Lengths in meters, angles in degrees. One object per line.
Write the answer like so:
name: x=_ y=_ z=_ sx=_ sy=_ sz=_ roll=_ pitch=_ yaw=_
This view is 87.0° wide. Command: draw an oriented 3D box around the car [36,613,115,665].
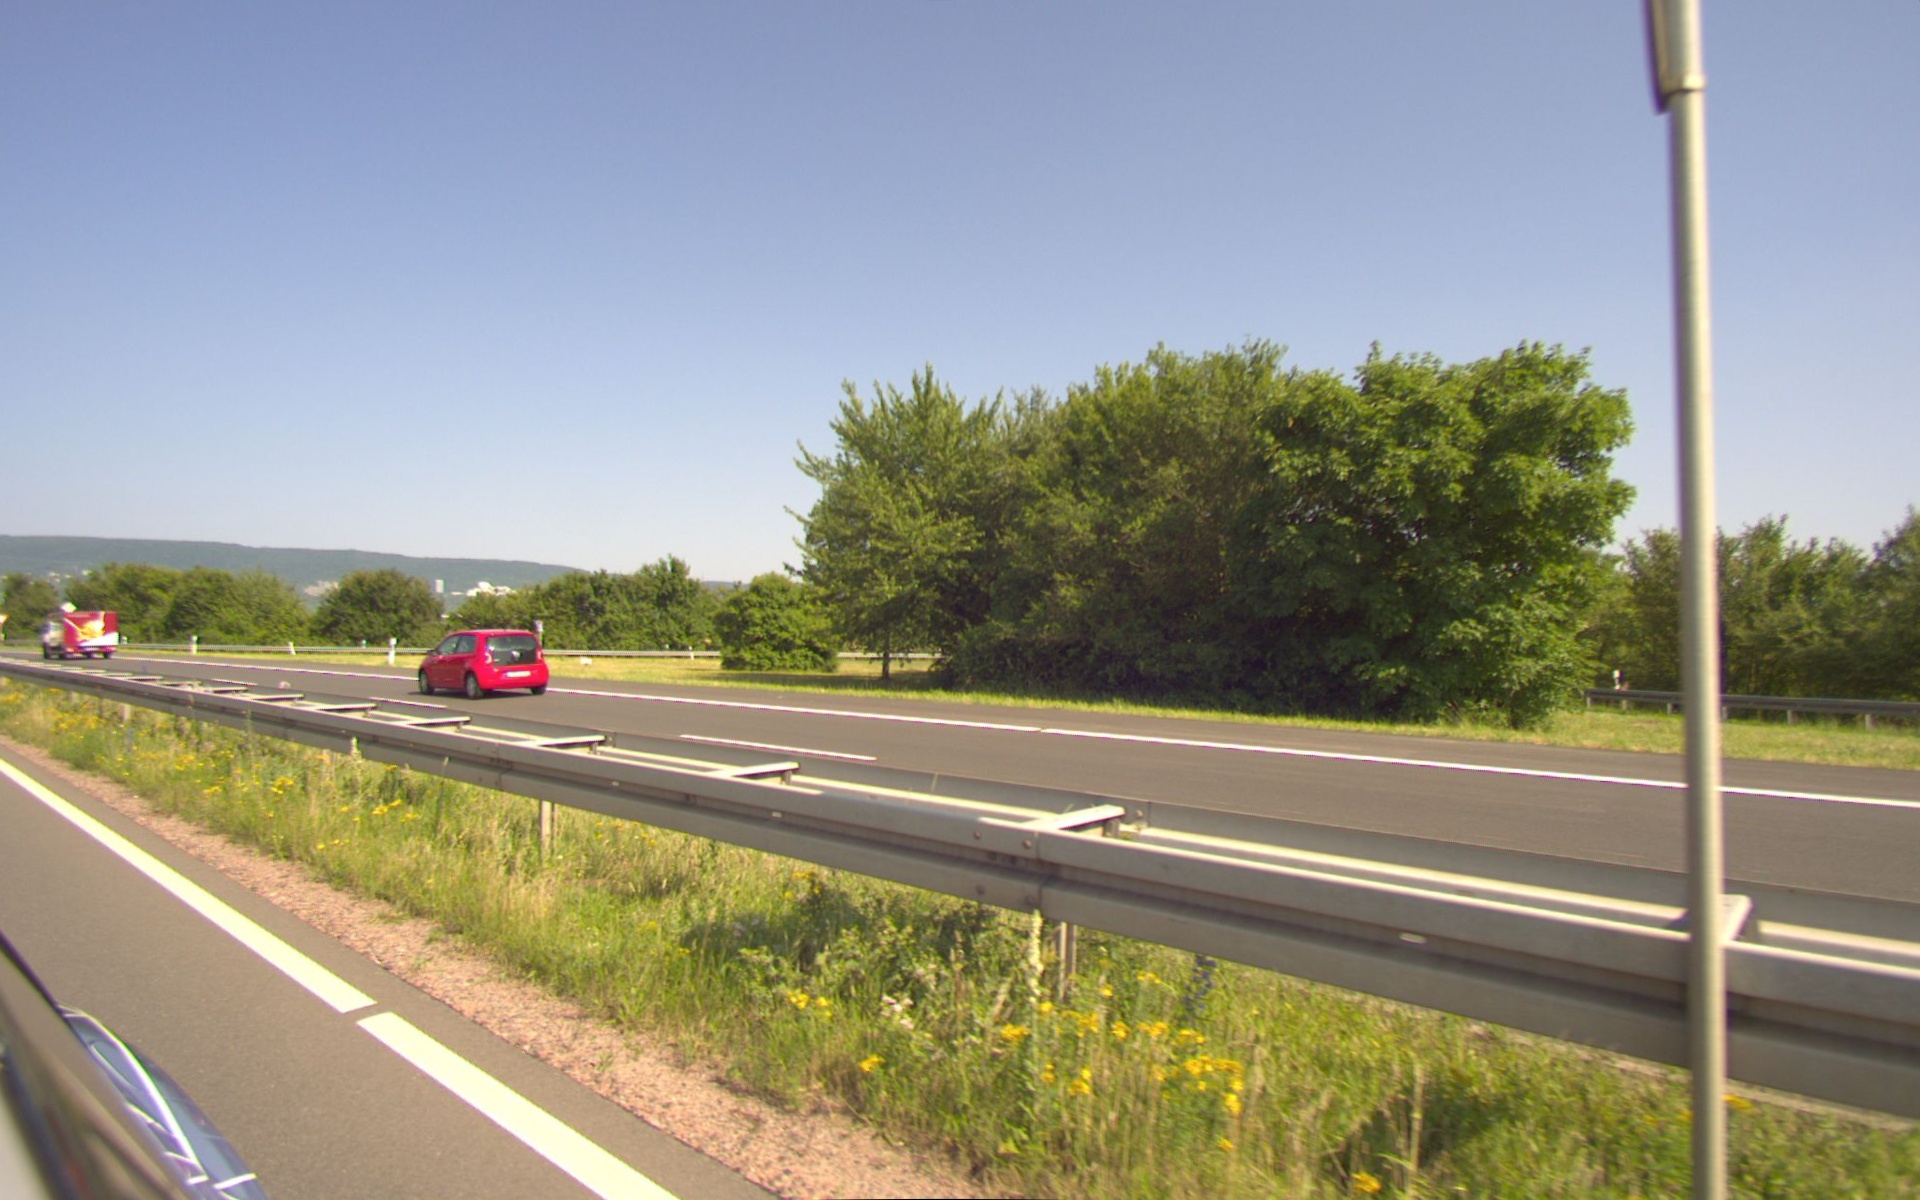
car: x=-44.326 y=1.887 z=50.665 sx=5.876 sy=2.392 sz=2.093 roll=-1 pitch=0 yaw=40

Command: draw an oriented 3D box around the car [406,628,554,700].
car: x=-10.807 y=1.395 z=22.686 sx=3.765 sy=1.468 sz=1.612 roll=-2 pitch=-3 yaw=40
